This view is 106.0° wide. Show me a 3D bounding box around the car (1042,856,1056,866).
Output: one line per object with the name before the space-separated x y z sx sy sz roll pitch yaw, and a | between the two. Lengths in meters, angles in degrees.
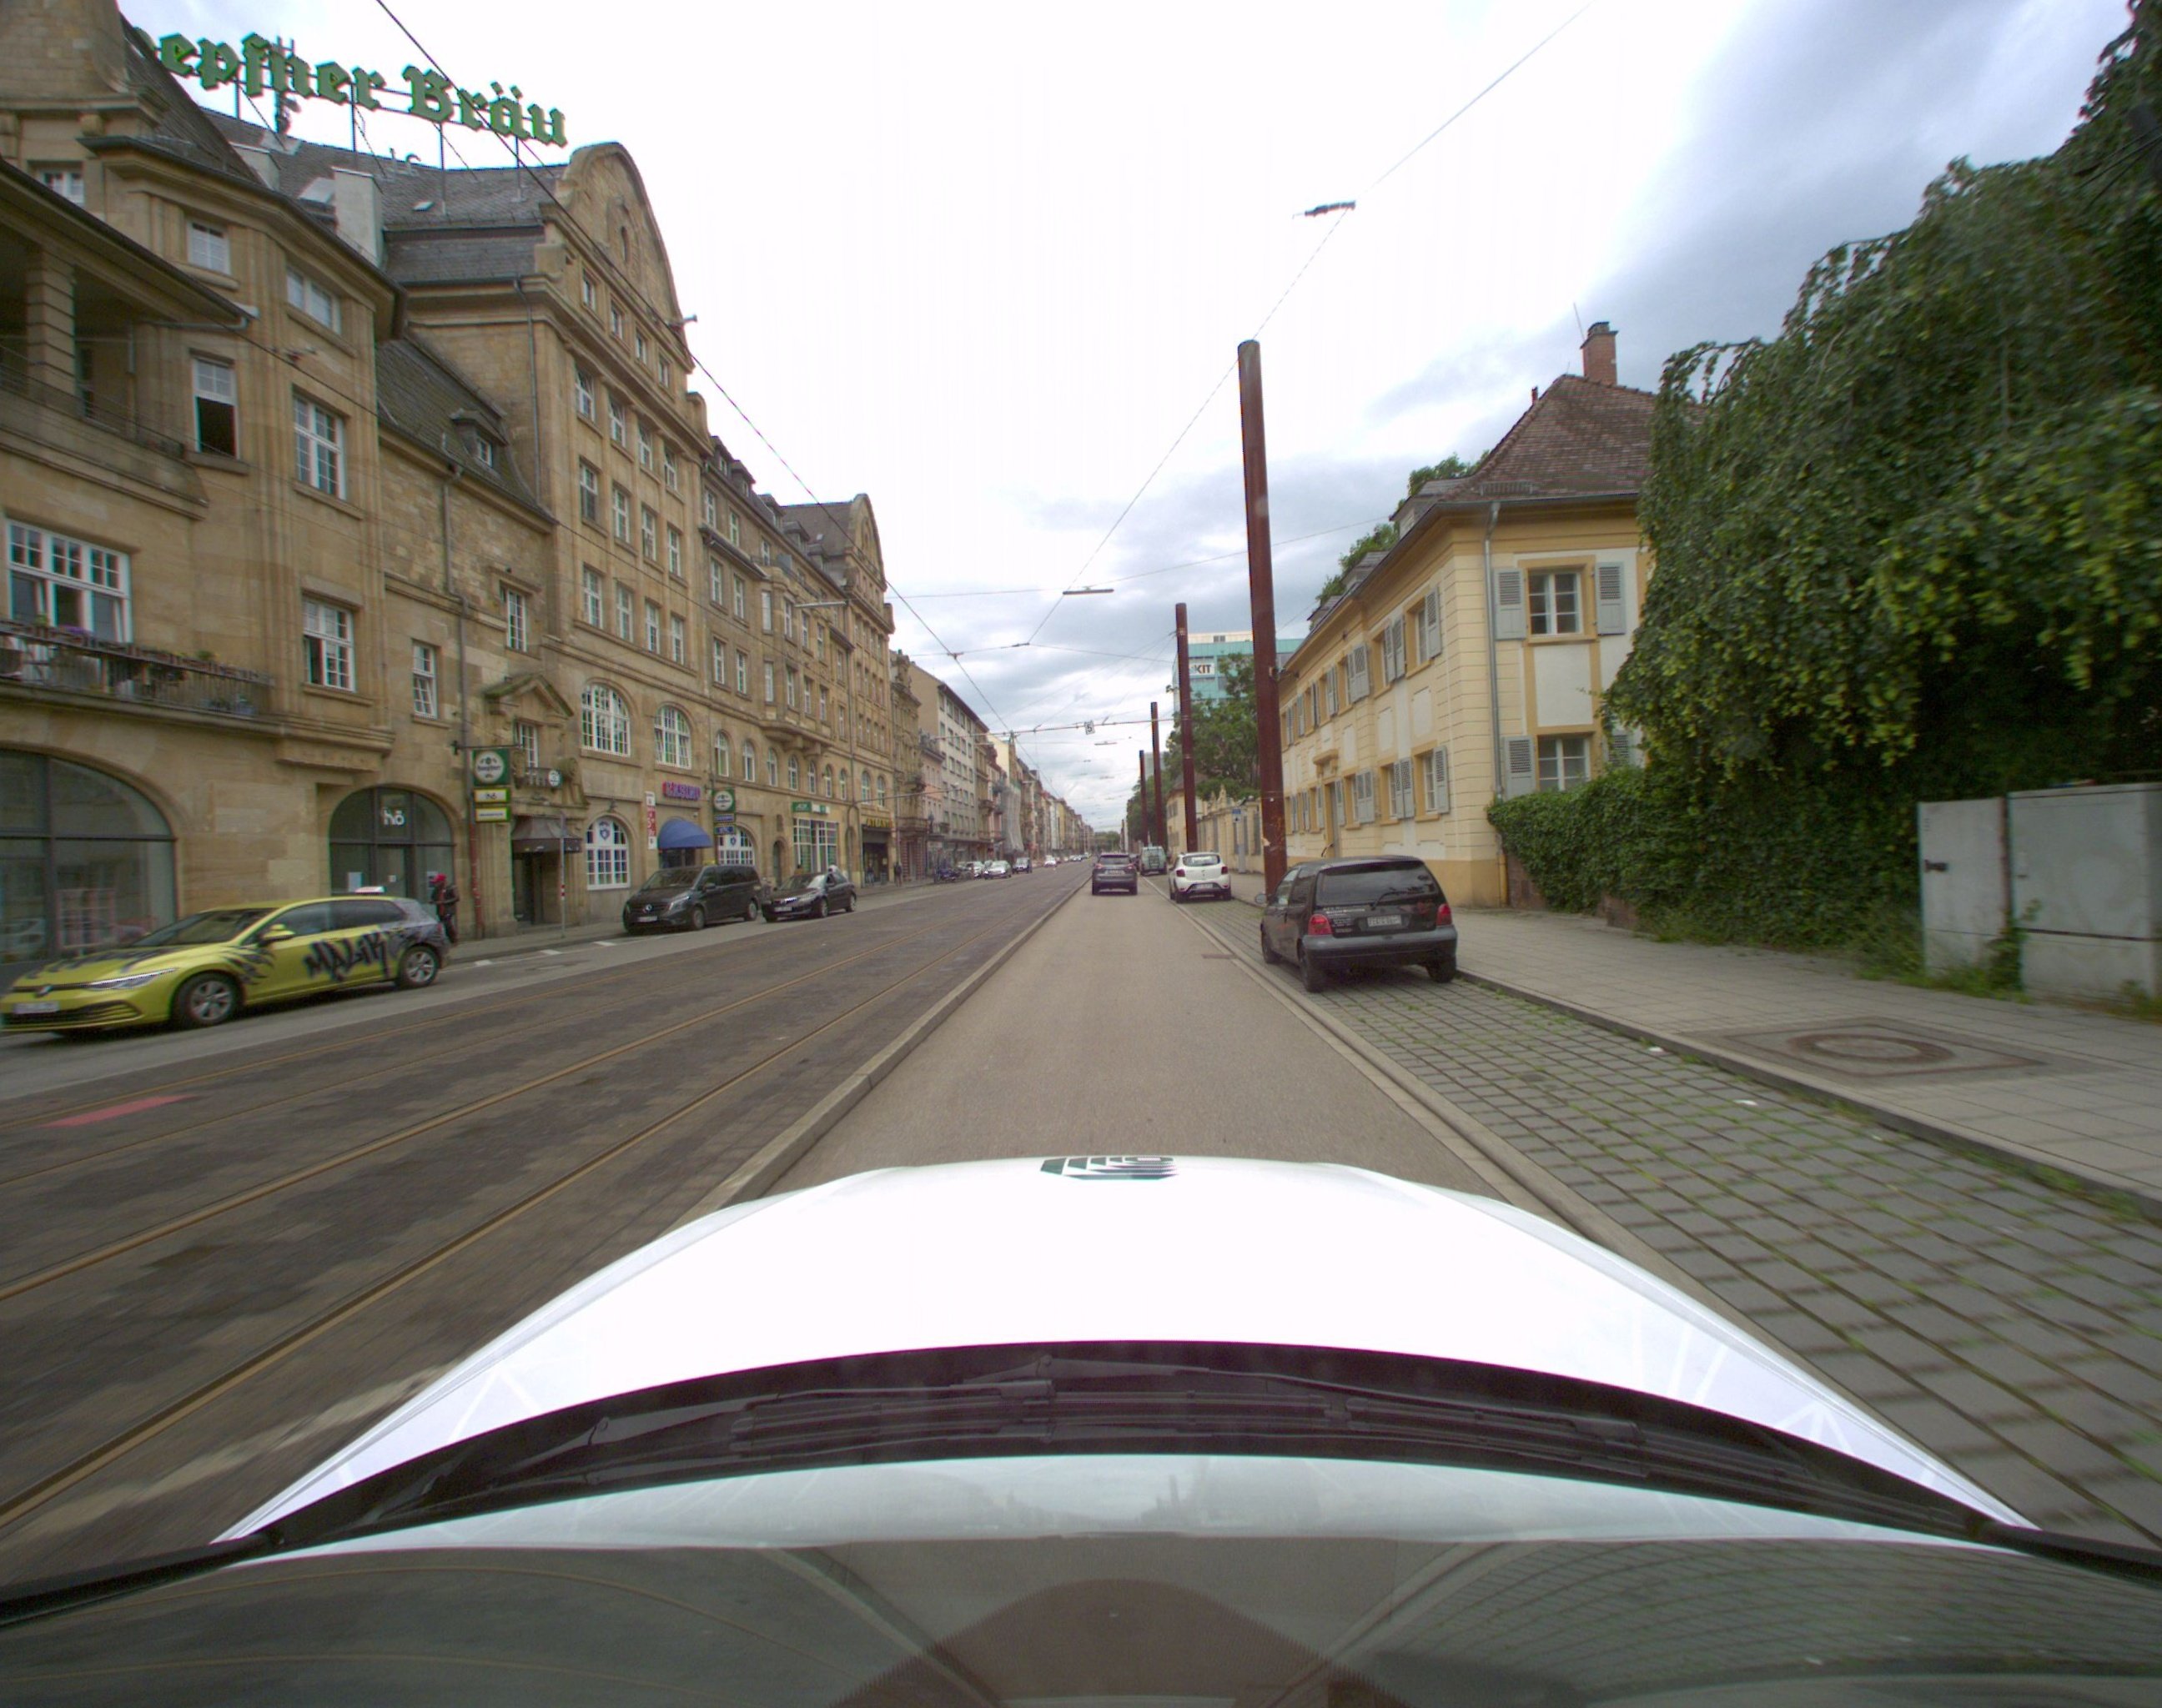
car | -4.869 1.035 124.457 1.681 1.420 4.137 -3 0 2

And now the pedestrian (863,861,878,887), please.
pedestrian | -13.639 1.274 52.792 0.682 1.613 0.742 -2 -1 2

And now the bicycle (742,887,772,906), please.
bicycle | -14.606 1.907 36.762 0.579 0.745 1.707 -2 0 2

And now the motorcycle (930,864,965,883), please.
motorcycle | -9.969 1.458 60.810 2.353 1.302 0.874 -2 -1 -35

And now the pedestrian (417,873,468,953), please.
pedestrian | -14.466 1.321 18.479 0.493 1.728 0.765 -3 0 -1

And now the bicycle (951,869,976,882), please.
bicycle | -9.741 1.800 67.377 1.963 1.001 0.462 -3 -1 -6

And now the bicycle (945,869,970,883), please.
bicycle | -9.901 1.765 65.320 1.963 1.001 0.462 -3 -1 -6

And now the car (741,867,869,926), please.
car | -8.463 1.243 25.482 1.817 1.433 4.676 -5 0 7

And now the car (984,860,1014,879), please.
car | -6.745 1.264 67.159 1.752 1.449 4.617 -3 0 2

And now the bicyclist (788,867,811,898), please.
bicyclist | -12.674 1.287 36.722 0.608 1.324 0.972 -2 0 2

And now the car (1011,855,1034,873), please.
car | -6.043 0.996 83.996 1.752 1.671 4.617 -3 0 2

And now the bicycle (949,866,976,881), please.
bicycle | -10.022 1.619 68.890 2.227 1.126 0.503 -3 -1 -6

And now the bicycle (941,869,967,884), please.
bicycle | -9.888 1.758 63.522 1.963 1.001 0.462 -3 -1 -6

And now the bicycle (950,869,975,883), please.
bicycle | -9.721 1.790 66.830 1.963 1.001 0.462 -3 -1 -6

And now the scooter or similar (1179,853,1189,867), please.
scooter or similar | 10.129 0.598 80.044 0.744 1.250 1.920 -2 -1 2

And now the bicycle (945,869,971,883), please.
bicycle | -9.815 1.775 64.805 1.963 1.001 0.462 -3 -1 -6

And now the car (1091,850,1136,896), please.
car | 1.332 0.725 33.488 1.743 1.756 3.925 1 0 2

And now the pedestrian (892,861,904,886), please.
pedestrian | -12.242 1.309 54.466 0.566 1.598 0.718 -3 -1 2

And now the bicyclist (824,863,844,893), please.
bicyclist | -12.683 1.200 41.817 0.608 1.487 0.972 -2 0 2

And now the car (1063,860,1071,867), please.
car | -3.568 2.347 207.608 1.988 1.635 3.998 -2 -1 -1

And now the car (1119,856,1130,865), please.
car | 7.450 1.110 139.849 1.769 1.420 4.137 -3 0 2

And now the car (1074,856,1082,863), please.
car | -0.738 1.338 205.783 1.988 1.635 3.998 -2 -1 -1

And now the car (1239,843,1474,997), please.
car | 3.184 0.676 10.267 1.631 1.433 3.932 -5 0 2

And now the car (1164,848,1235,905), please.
car | 3.813 0.690 26.744 1.749 1.574 3.932 -5 0 2

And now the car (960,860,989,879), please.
car | -9.427 1.353 72.426 1.769 1.504 4.404 -3 0 2

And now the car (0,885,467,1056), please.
car | -10.785 1.307 10.577 1.890 1.511 4.435 -4 0 5

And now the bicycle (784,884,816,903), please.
bicycle | -12.651 1.783 36.734 0.579 0.745 2.252 -2 0 2

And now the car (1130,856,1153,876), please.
car | 5.395 1.028 72.699 1.743 1.596 3.925 -5 0 2

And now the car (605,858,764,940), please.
car | -11.397 1.189 23.940 1.892 1.977 5.099 -5 0 2

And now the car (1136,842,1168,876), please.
car | 5.055 0.357 58.376 1.844 2.115 4.987 -5 0 2

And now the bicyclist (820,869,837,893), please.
bicyclist | -12.709 1.356 40.988 0.608 1.117 0.660 -2 0 2

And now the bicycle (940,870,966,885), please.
bicycle | -9.886 1.816 62.761 1.919 1.001 0.462 -3 -1 -6
